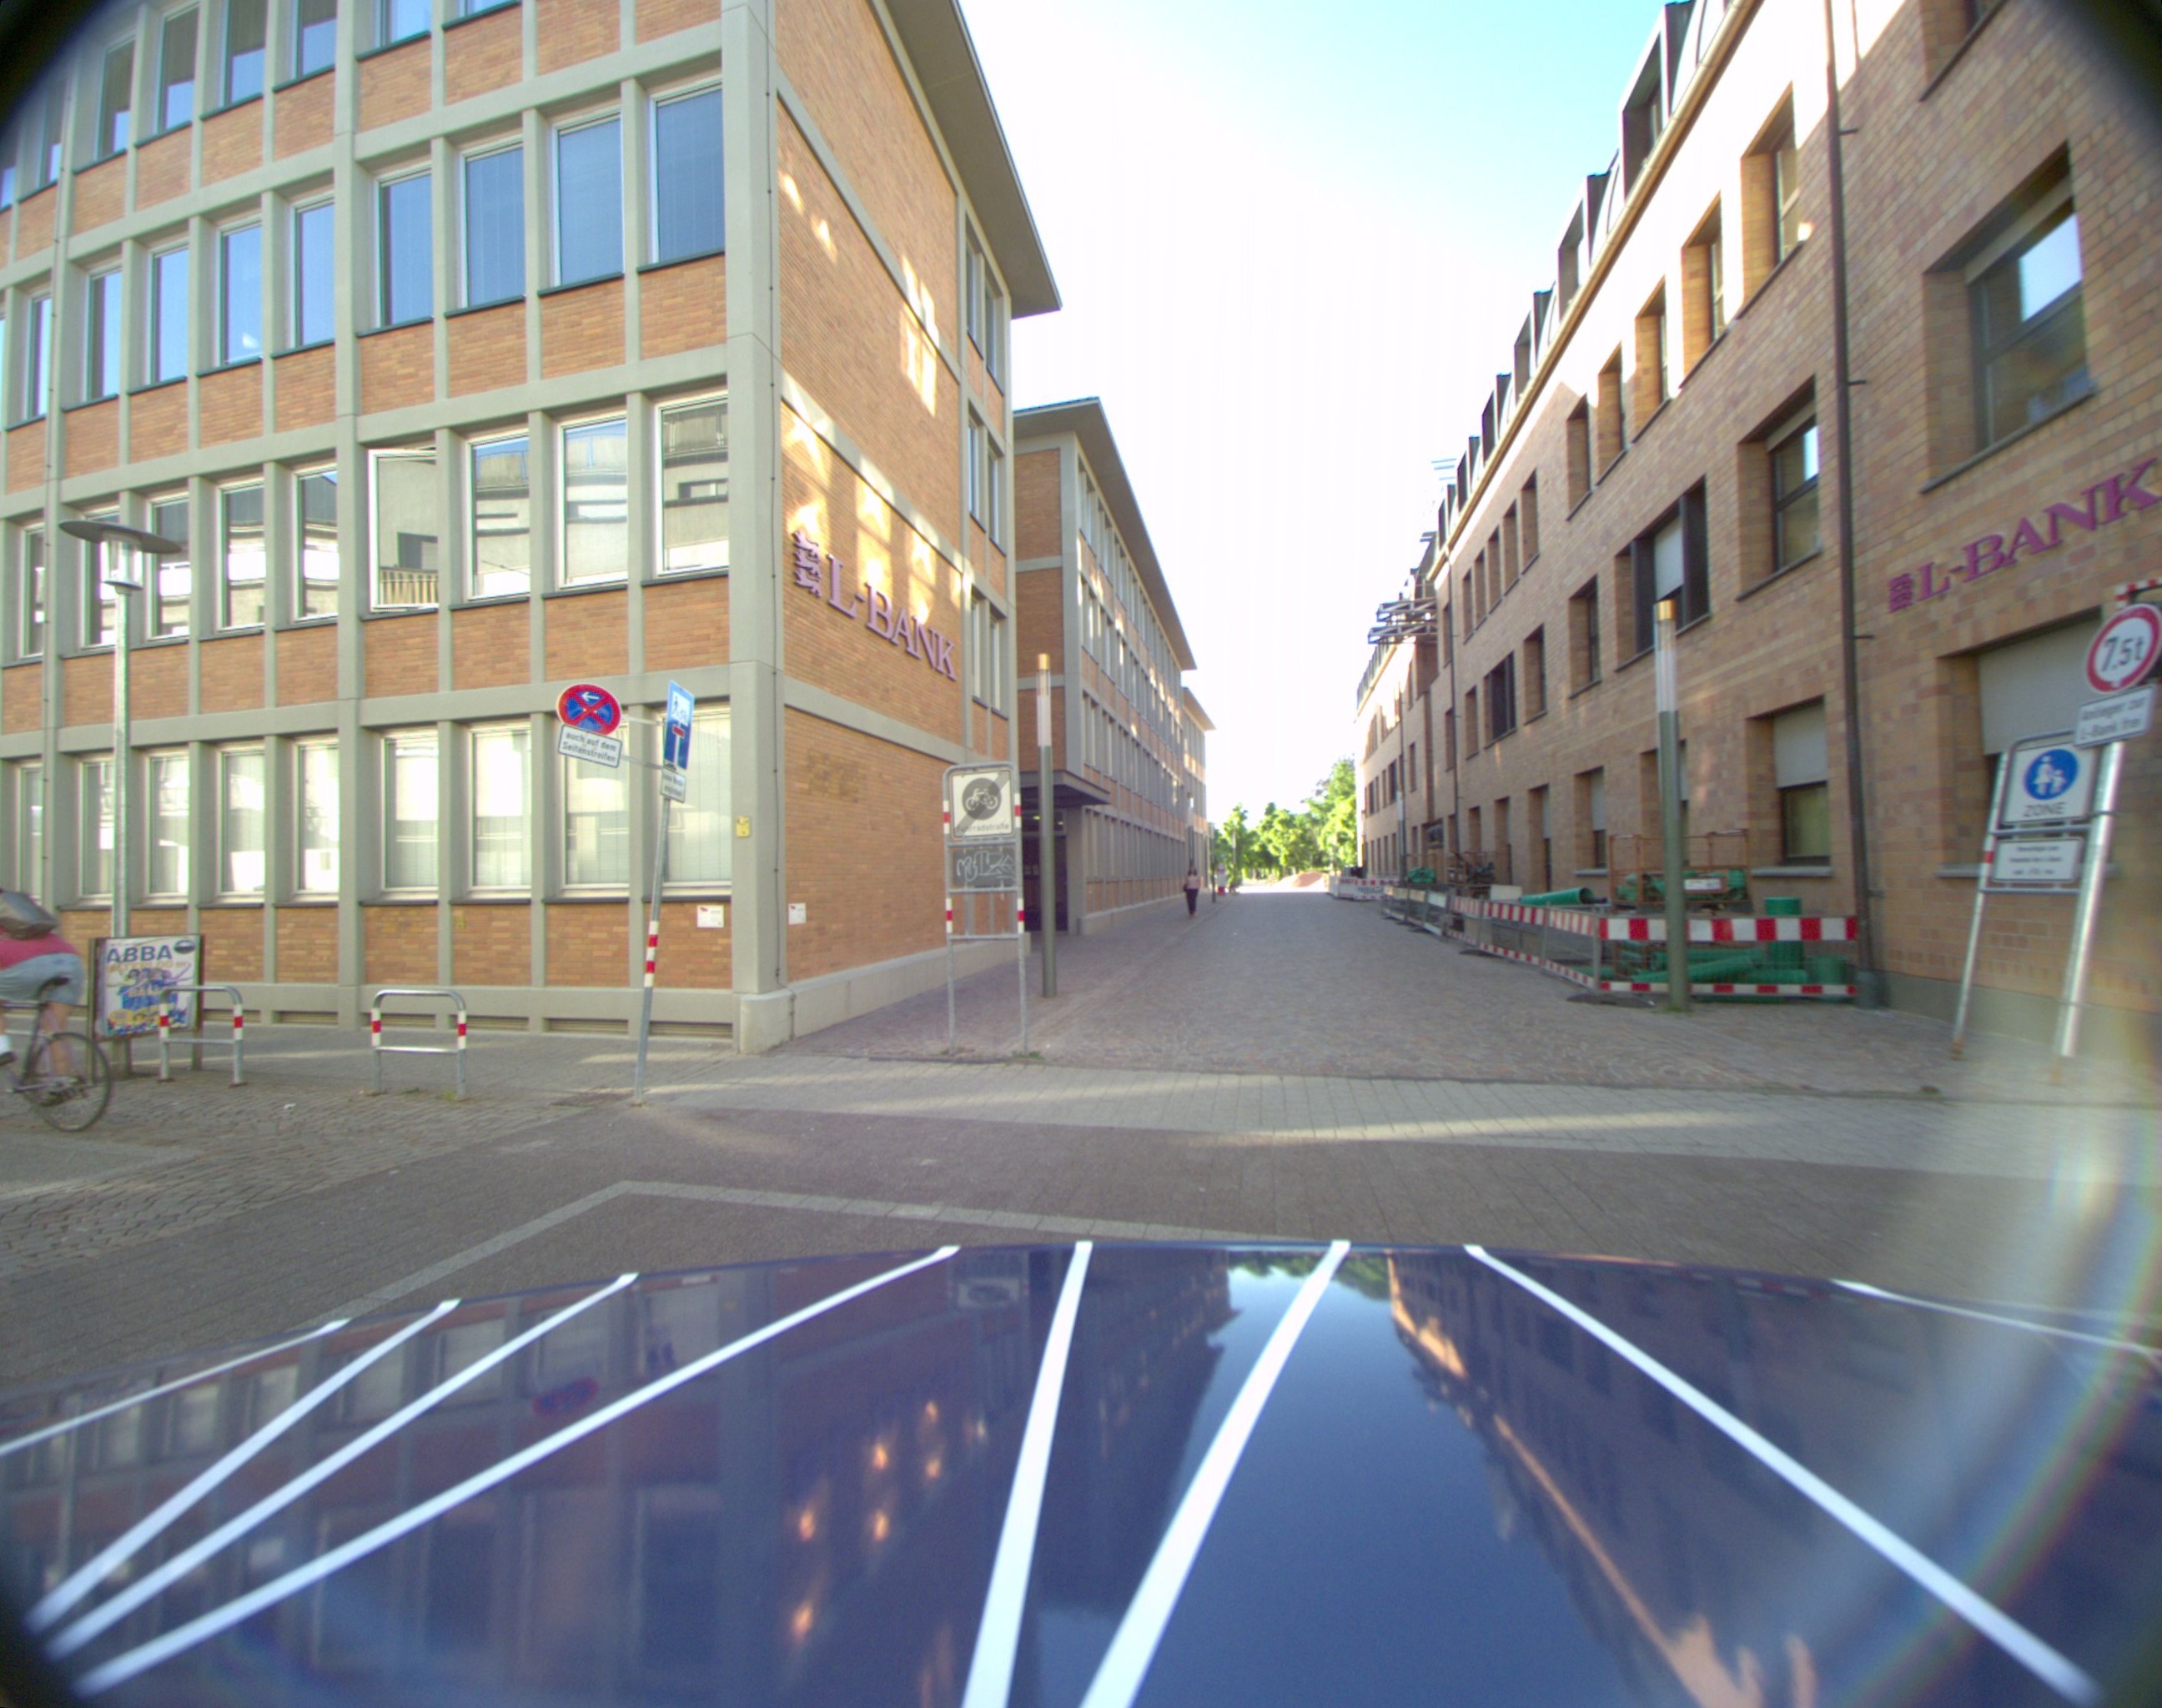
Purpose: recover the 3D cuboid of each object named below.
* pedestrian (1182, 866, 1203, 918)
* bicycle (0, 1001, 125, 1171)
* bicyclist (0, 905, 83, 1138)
[{"bbox_3d":[3.863,1.323,26.226,0.637,1.774,0.653,-1,-3,14],"label":"pedestrian"},{"bbox_3d":[-7.289,1.511,5.108,1.588,0.951,0.437,-1,-1,14],"label":"bicycle"},{"bbox_3d":[-7.362,1.094,5.110,0.874,1.488,0.429,-1,-2,13],"label":"bicyclist"}]
